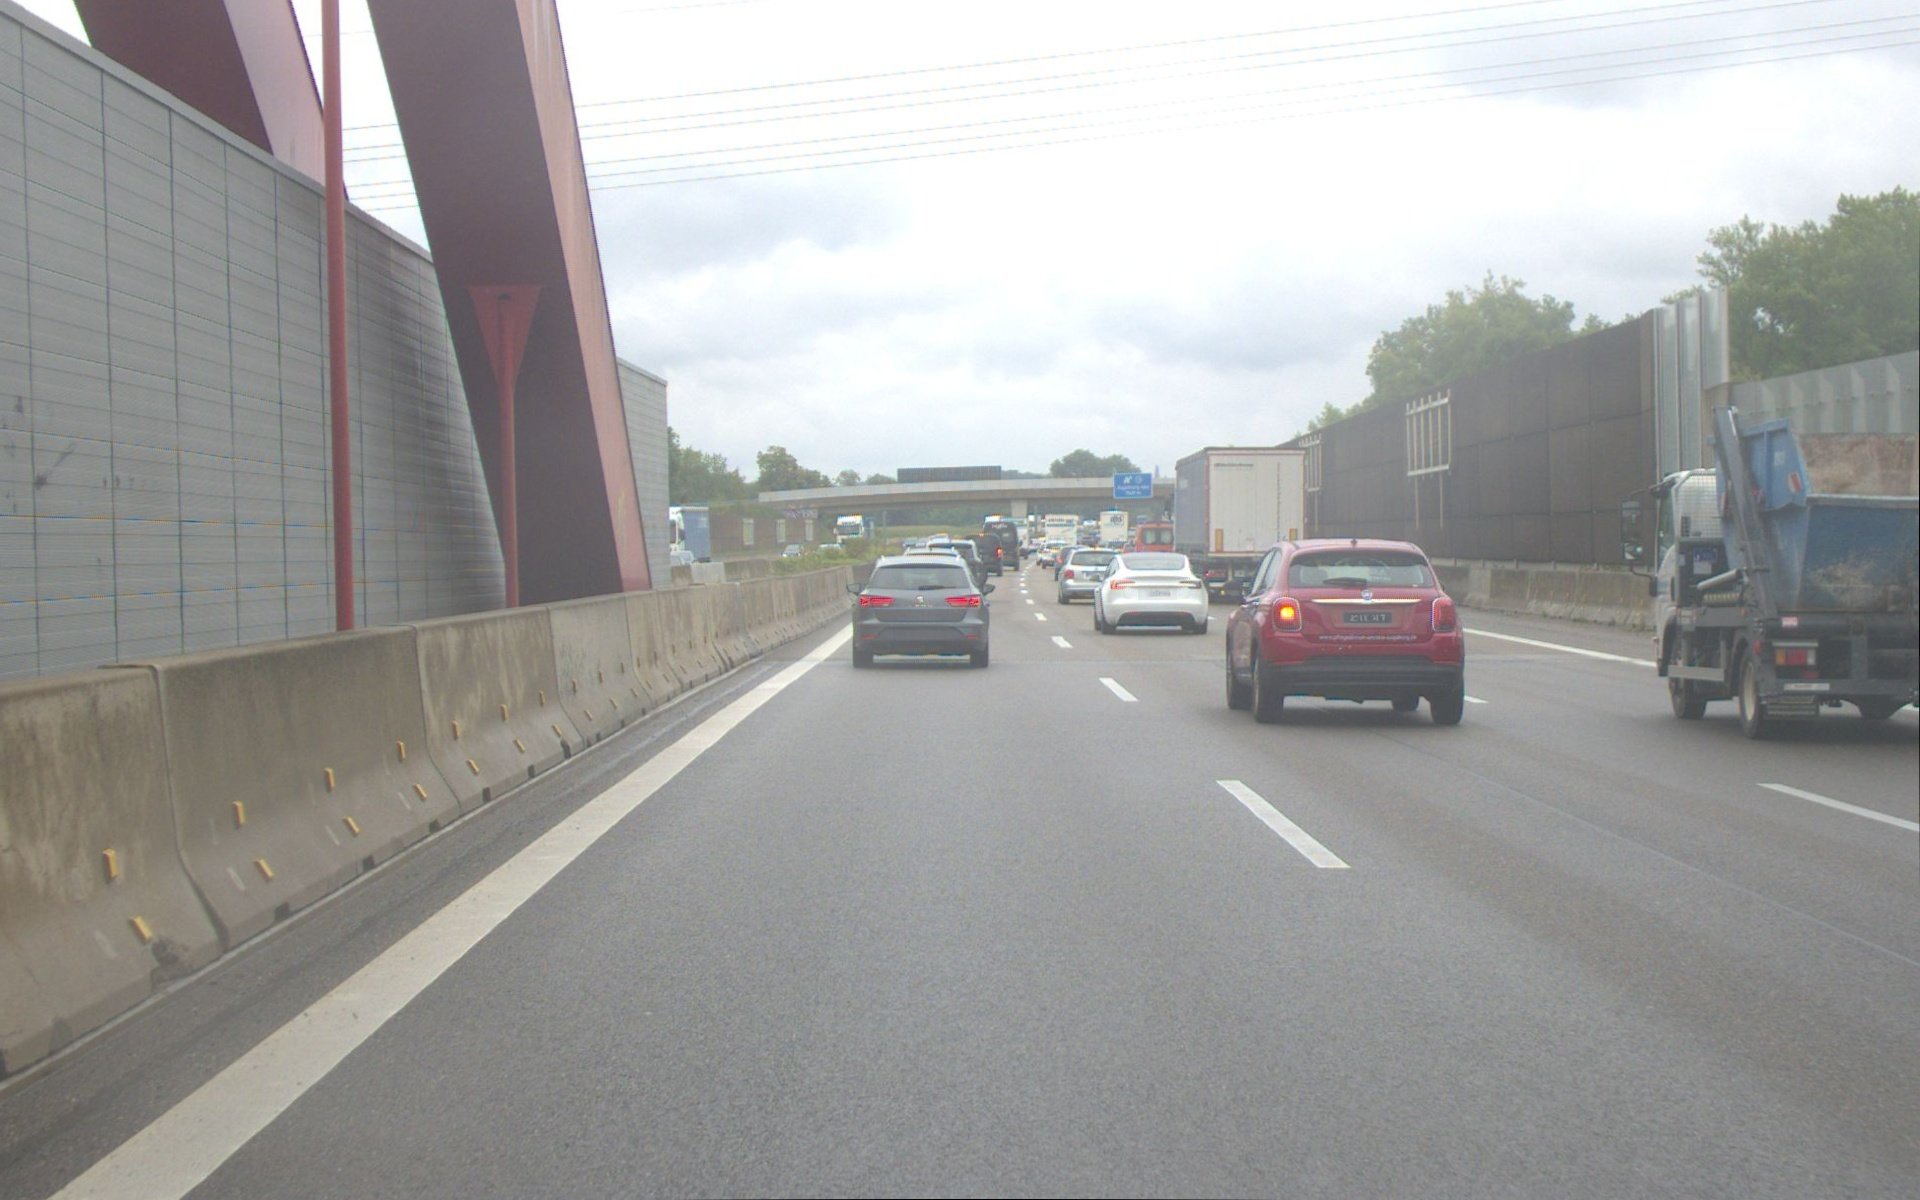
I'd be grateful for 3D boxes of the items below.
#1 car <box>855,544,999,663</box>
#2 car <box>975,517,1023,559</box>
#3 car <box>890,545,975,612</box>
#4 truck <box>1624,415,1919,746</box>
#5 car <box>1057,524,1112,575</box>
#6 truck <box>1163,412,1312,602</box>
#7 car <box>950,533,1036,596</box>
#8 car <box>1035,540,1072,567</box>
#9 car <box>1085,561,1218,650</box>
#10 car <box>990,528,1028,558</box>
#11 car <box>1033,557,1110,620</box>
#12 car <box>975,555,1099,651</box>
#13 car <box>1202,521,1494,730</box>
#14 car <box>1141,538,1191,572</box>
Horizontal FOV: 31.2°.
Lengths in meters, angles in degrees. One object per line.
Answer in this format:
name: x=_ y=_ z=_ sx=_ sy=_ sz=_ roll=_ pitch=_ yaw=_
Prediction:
car: x=-0.441 y=0.010 z=44.430 sx=1.763 sy=1.448 sz=4.000 roll=0 pitch=1 yaw=-1
car: x=1.703 y=-2.754 z=152.185 sx=1.993 sy=1.809 sz=4.000 roll=0 pitch=1 yaw=-1
car: x=-0.625 y=-0.495 z=75.113 sx=1.781 sy=1.401 sz=3.626 roll=0 pitch=1 yaw=-2
truck: x=7.316 y=-0.202 z=29.055 sx=2.361 sy=2.498 sz=6.144 roll=0 pitch=1 yaw=2
car: x=5.054 y=-2.071 z=140.175 sx=1.993 sy=2.007 sz=4.000 roll=1 pitch=1 yaw=-1
truck: x=7.192 y=-2.404 z=90.089 sx=3.044 sy=4.718 sz=7.680 roll=1 pitch=1 yaw=-1
car: x=0.825 y=-0.920 z=88.253 sx=1.993 sy=1.579 sz=4.001 roll=0 pitch=1 yaw=-2
car: x=5.324 y=-2.638 z=195.470 sx=1.993 sy=1.514 sz=4.000 roll=0 pitch=1 yaw=0
car: x=3.345 y=0.067 z=60.707 sx=1.993 sy=1.481 sz=4.001 roll=0 pitch=1 yaw=-2
car: x=2.583 y=-3.032 z=182.622 sx=1.993 sy=1.618 sz=4.000 roll=0 pitch=1 yaw=1
car: x=2.822 y=-0.306 z=88.014 sx=1.702 sy=1.538 sz=3.839 roll=0 pitch=1 yaw=-2
car: x=1.275 y=0.024 z=57.387 sx=1.993 sy=1.514 sz=4.000 roll=0 pitch=1 yaw=1
car: x=3.376 y=0.167 z=30.621 sx=1.957 sy=1.641 sz=4.001 roll=2 pitch=2 yaw=-2
car: x=9.363 y=-2.047 z=156.588 sx=1.993 sy=1.514 sz=4.000 roll=0 pitch=1 yaw=0
